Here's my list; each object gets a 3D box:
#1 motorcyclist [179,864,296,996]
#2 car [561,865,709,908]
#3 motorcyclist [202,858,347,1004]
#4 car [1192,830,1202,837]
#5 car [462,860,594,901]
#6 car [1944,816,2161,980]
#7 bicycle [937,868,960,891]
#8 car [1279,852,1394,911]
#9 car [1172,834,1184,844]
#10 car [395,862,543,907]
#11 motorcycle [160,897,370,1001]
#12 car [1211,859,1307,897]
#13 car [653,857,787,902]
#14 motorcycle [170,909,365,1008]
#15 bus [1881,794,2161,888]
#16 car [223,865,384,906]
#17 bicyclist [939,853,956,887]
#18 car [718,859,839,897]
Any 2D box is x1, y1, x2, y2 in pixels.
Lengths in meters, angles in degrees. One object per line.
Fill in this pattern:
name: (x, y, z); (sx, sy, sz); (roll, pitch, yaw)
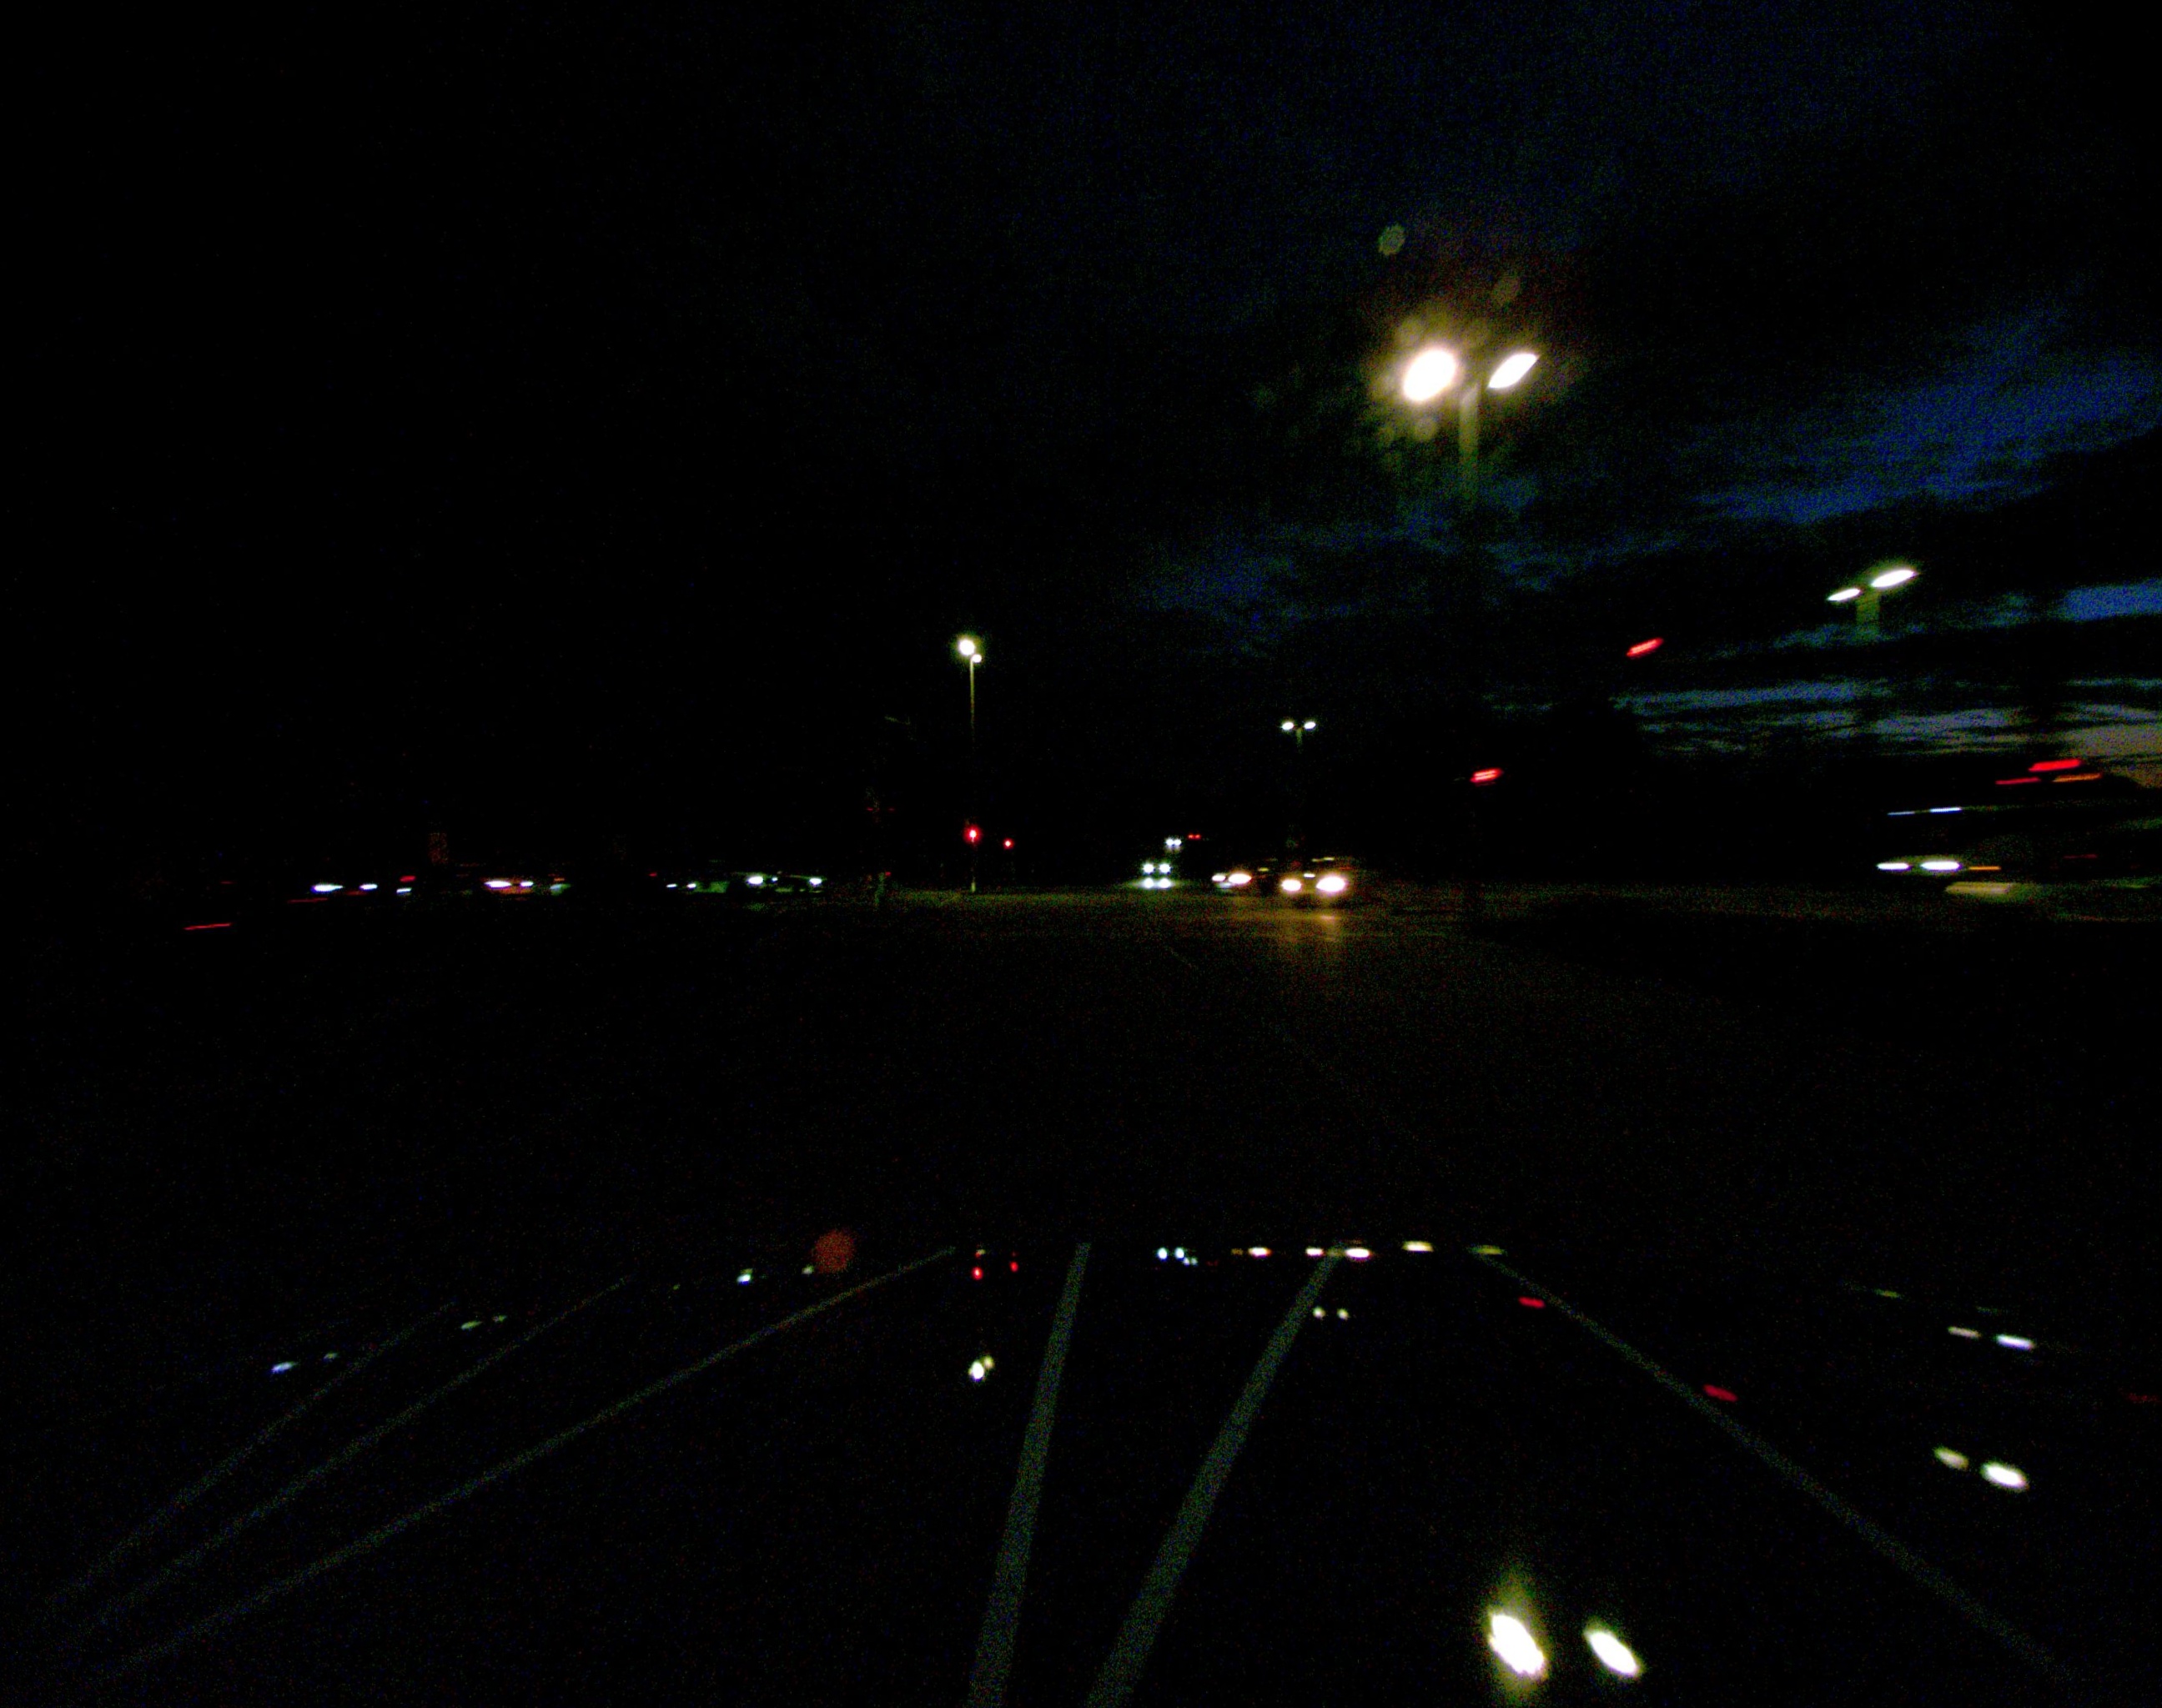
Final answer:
motorcyclist: (-12.146, 1.065, 10.980); (0.791, 1.750, 0.682); (-5, 5, -27)
car: (-15.427, 1.094, 26.365); (4.284, 1.437, 1.788); (0, 0, 10)
motorcyclist: (-11.042, 1.007, 10.463); (0.871, 1.799, 0.915); (-6, 5, -21)
car: (25.661, -4.542, 168.007); (1.739, 1.564, 4.059); (-3, 2, 3)
car: (-22.326, 1.048, 30.740); (4.356, 1.617, 1.753); (0, 0, 9)
car: (12.780, 0.472, 8.227); (1.847, 1.803, 4.778); (-1, 0, 7)
bicycle: (-6.632, 1.243, 38.161); (0.694, 1.094, 2.069); (-1, 0, 3)
car: (7.929, 0.797, 23.317); (1.666, 1.643, 4.421); (-2, -2, 42)
car: (17.947, -2.807, 141.169); (1.696, 1.586, 3.930); (-1, -1, 14)
car: (-21.782, 1.070, 27.114); (3.994, 1.516, 1.838); (0, 1, 8)
motorcycle: (-11.870, 1.347, 11.162); (1.823, 1.175, 0.848); (-5, 4, -27)
car: (7.438, 0.968, 31.702); (3.782, 1.471, 1.667); (0, -1, -30)
car: (-13.988, 0.986, 29.564); (4.413, 1.672, 1.916); (0, 0, 9)
motorcycle: (-11.109, 1.402, 10.456); (1.578, 1.028, 0.721); (-6, 5, -21)
bus: (42.895, -0.548, 33.175); (12.261, 3.767, 2.617); (-1, -1, 5)
car: (-28.253, 1.124, 27.685); (4.391, 1.382, 1.838); (0, 1, 8)
bicyclist: (-6.661, 0.780, 37.823); (0.603, 1.641, 1.000); (-1, 0, 3)
car: (-13.140, 1.022, 33.171); (4.578, 1.623, 1.859); (0, 0, 8)
